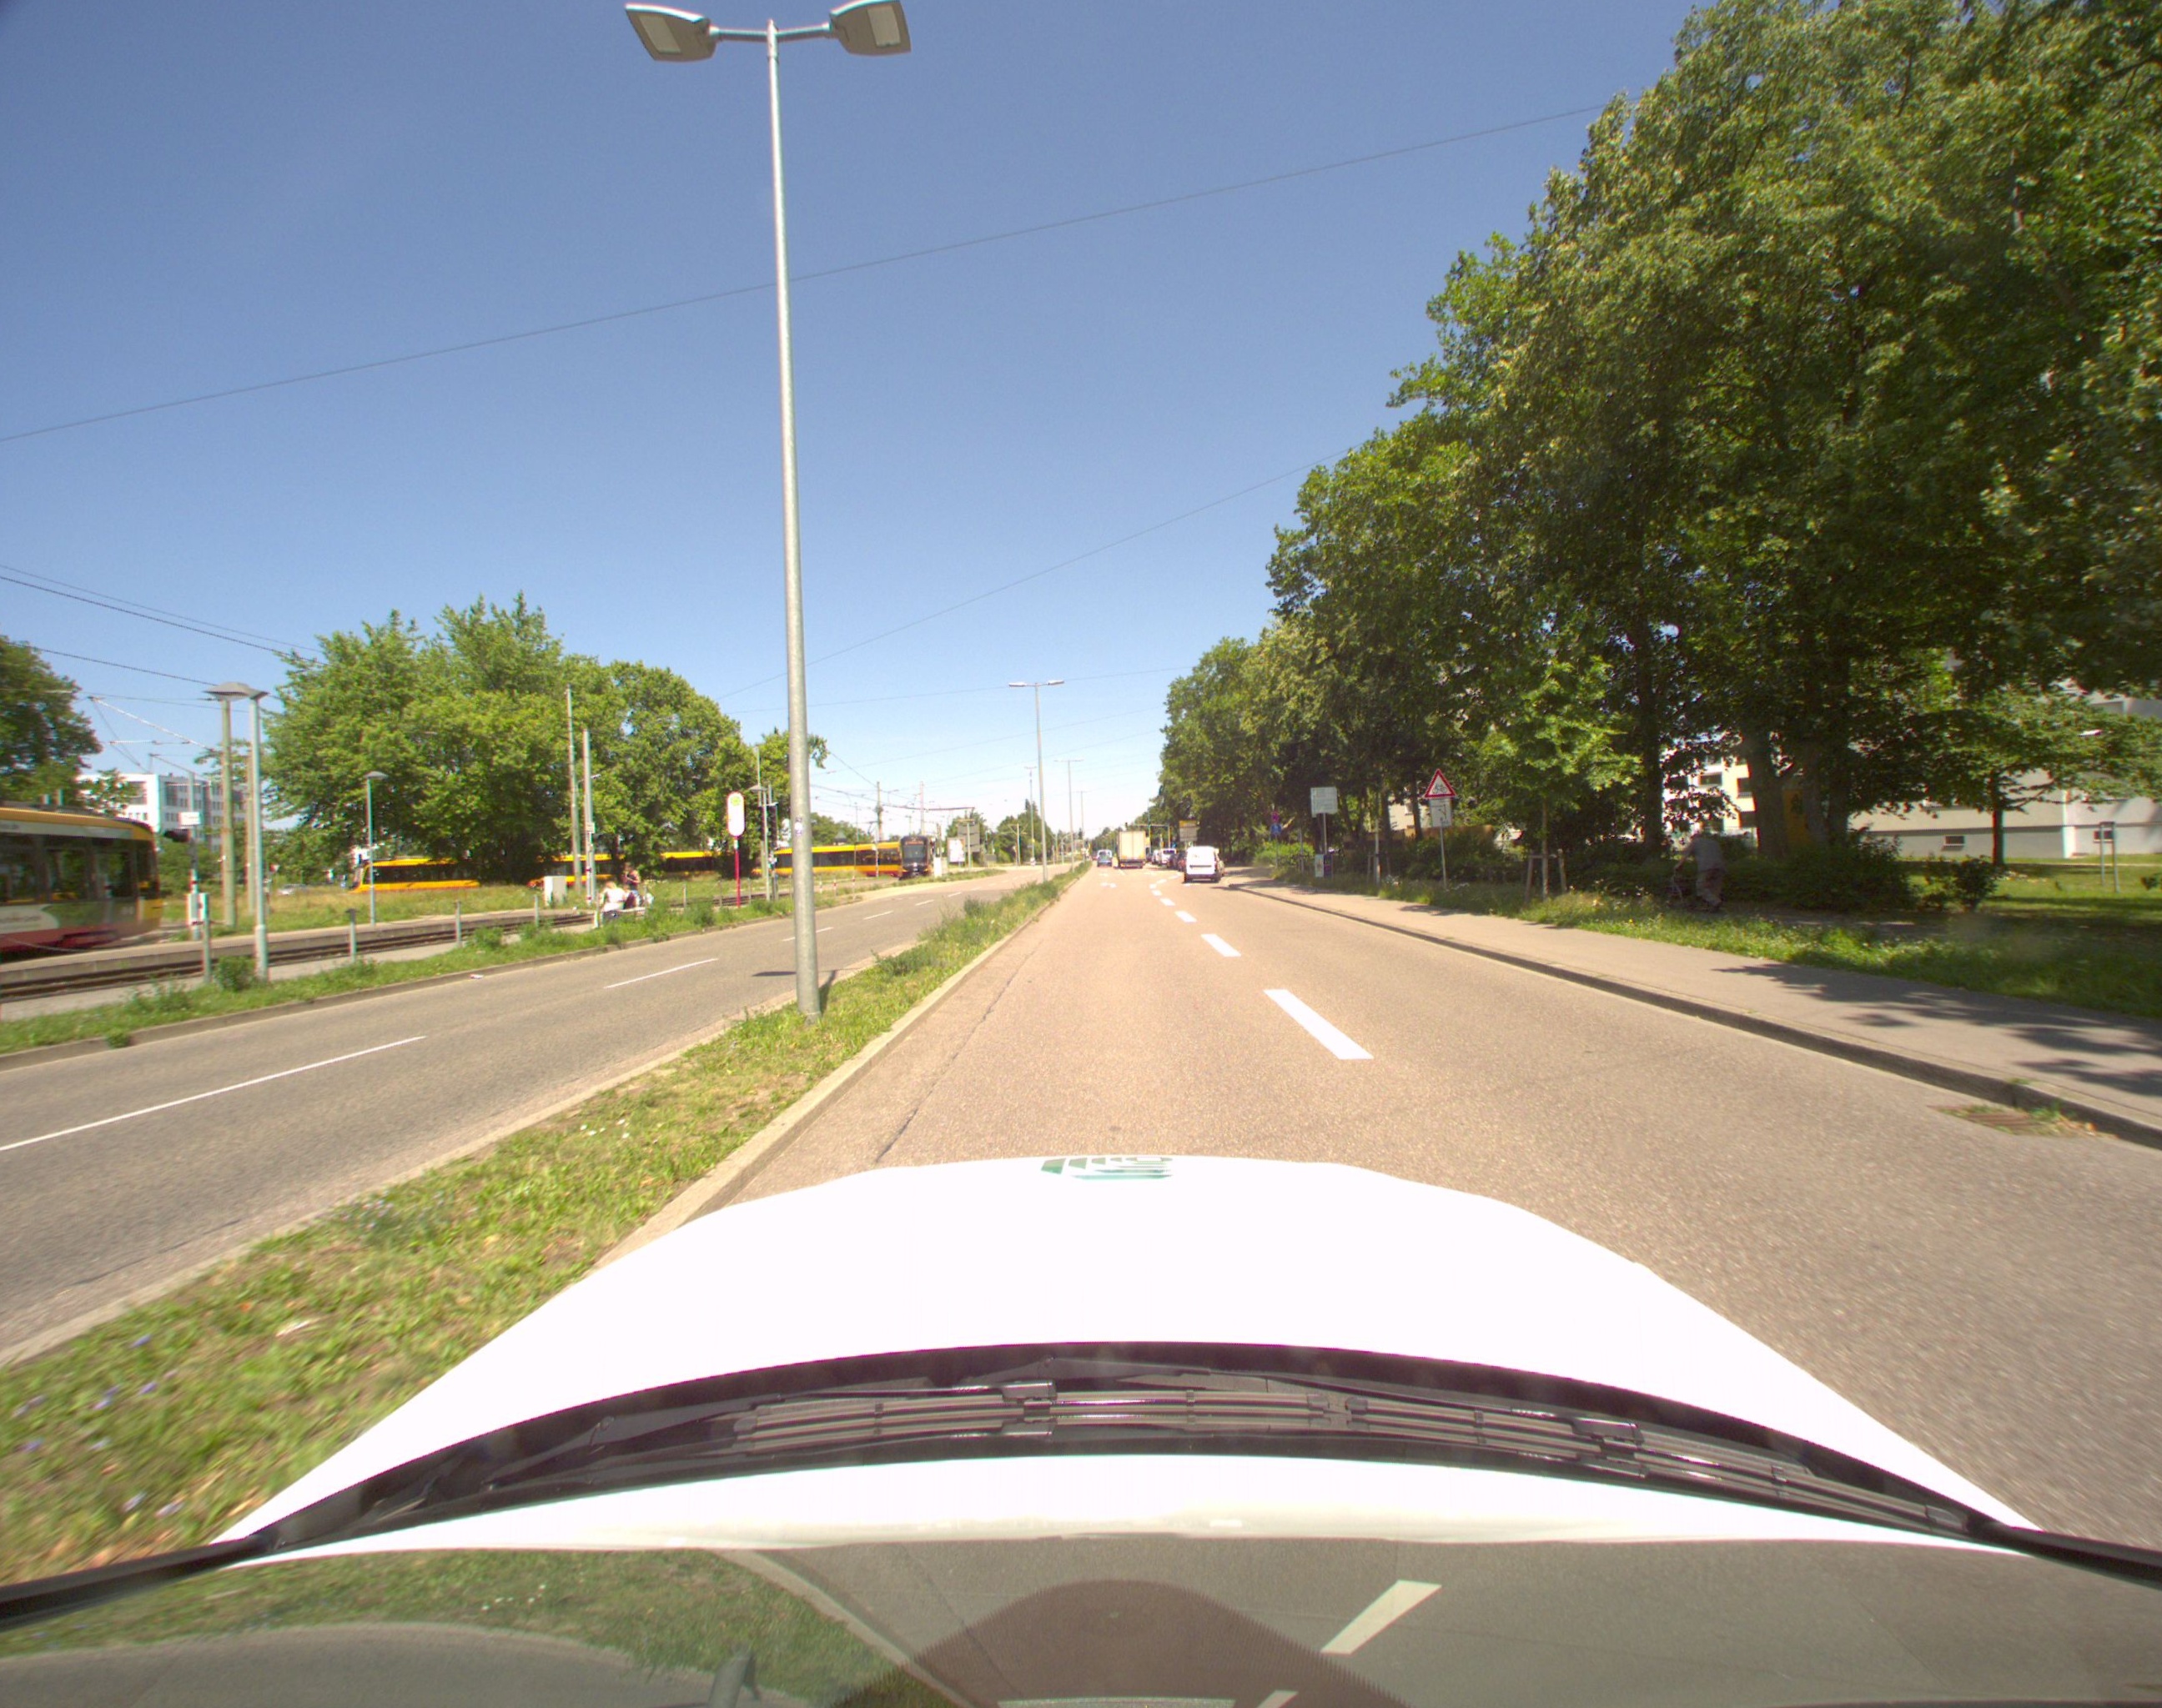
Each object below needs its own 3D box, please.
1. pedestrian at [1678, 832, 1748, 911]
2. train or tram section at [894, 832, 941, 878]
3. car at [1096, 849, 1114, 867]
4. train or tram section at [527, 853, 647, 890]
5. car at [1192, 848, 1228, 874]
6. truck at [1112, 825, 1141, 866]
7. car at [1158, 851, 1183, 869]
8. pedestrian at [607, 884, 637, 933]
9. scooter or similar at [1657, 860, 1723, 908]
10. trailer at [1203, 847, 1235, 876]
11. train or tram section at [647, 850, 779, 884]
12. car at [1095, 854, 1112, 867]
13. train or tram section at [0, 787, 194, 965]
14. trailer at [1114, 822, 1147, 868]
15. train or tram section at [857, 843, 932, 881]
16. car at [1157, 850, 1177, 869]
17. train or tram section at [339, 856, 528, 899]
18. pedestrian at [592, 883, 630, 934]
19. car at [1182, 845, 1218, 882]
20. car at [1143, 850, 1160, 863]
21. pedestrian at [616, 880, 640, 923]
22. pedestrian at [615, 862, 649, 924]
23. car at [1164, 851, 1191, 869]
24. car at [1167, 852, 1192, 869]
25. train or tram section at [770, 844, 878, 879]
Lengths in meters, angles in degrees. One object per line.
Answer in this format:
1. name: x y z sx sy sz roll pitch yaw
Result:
1. pedestrian: 11.605 0.315 14.973 0.705 1.398 0.763 -1 0 2
2. train or tram section: -13.863 0.101 68.185 3.042 3.466 13.223 -1 0 -15
3. car: 2.997 0.456 102.666 1.987 2.111 4.747 -1 1 0
4. train or tram section: -50.592 1.733 83.657 10.272 3.466 3.012 -1 0 -38
5. car: 8.446 0.432 53.730 1.694 1.654 4.398 -1 0 0
6. truck: 5.059 -0.942 91.628 2.818 4.344 8.284 0 1 0
7. car: 8.000 0.503 73.025 1.852 1.549 3.887 -1 0 0
8. pedestrian: -11.393 1.341 20.214 0.492 1.189 0.400 -1 0 0
9. scooter or similar: 11.637 0.566 15.589 0.705 0.893 0.763 -1 0 2
10. trailer: 8.459 0.449 50.080 1.464 1.669 2.856 -1 0 0
11. train or tram section: -39.960 1.357 88.743 12.690 3.466 3.040 -1 0 -6
12. car: 2.636 0.810 95.065 1.886 1.372 4.430 1 -2 1
13. train or tram section: -23.853 0.462 16.858 3.059 3.624 12.346 -1 0 -26
14. trailer: 4.992 -0.859 83.134 2.818 4.421 8.748 -1 0 0
15. train or tram section: -18.205 0.743 78.924 3.061 3.466 10.107 -1 0 -38
16. car: 9.835 0.616 93.206 1.884 2.121 3.887 -1 0 0
17. train or tram section: -59.100 2.017 74.996 3.007 3.466 13.351 -1 0 34
18. pedestrian: -11.388 1.321 19.732 0.578 1.189 0.536 -1 0 1
19. car: 6.044 0.454 41.387 1.700 1.747 4.438 -1 0 8
20. car: 9.047 0.311 105.167 1.986 1.437 4.254 -1 1 2
21. pedestrian: -11.462 1.192 20.601 0.381 1.058 0.377 -1 0 0
22. pedestrian: -11.641 1.009 21.124 0.533 1.565 0.582 -1 0 0
23. car: 7.653 0.459 64.569 1.649 1.396 4.267 -1 0 0
24. car: 9.714 0.619 80.251 1.986 1.503 4.504 -2 0 2
25. train or tram section: -27.323 0.788 86.260 12.588 3.466 3.065 -1 0 29
